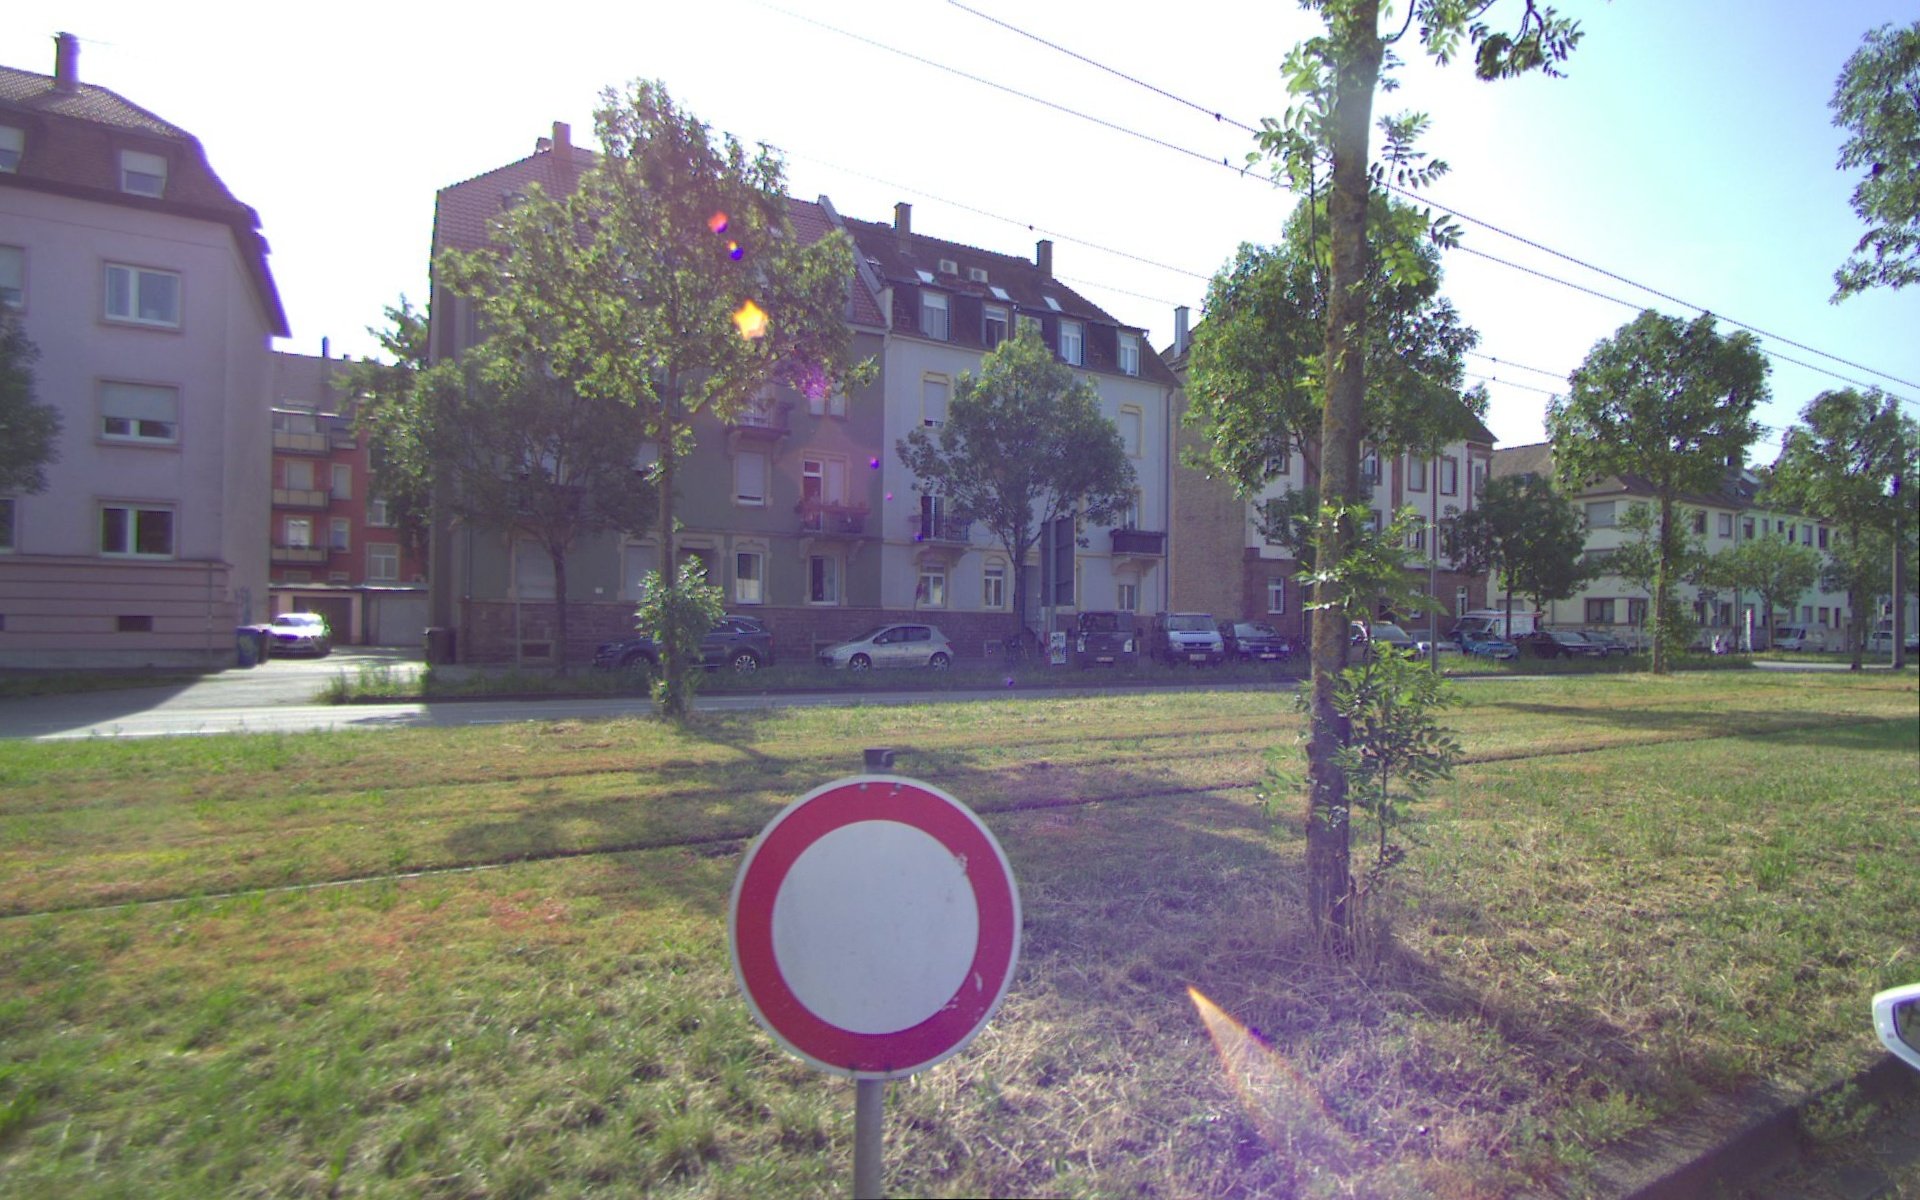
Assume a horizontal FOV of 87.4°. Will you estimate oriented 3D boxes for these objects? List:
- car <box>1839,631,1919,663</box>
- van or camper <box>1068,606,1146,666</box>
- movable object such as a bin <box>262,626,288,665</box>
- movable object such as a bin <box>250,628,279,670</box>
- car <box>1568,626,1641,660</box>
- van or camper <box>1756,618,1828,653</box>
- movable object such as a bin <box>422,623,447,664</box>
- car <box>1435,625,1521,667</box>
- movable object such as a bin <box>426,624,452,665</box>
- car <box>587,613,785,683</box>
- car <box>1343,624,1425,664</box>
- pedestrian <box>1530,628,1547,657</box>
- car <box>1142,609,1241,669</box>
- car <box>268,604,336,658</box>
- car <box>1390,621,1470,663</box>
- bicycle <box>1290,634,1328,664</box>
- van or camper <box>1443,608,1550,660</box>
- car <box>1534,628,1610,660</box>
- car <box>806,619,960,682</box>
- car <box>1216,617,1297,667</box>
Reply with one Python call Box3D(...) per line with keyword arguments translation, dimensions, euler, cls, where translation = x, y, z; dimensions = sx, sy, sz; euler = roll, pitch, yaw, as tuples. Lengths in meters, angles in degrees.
Box3D(translation=(59.635, 2.994, 64.499), dimensions=(1.960, 1.761, 5.329), euler=(2, 0, 4), cls="car")
Box3D(translation=(4.600, 1.081, 32.052), dimensions=(1.963, 1.645, 4.852), euler=(2, 0, 3), cls="van or camper")
Box3D(translation=(-22.257, 1.464, 32.666), dimensions=(0.633, 1.227, 0.582), euler=(2, 1, -31), cls="movable object such as a bin")
Box3D(translation=(-20.924, 1.471, 30.234), dimensions=(0.633, 1.227, 0.582), euler=(2, 1, -31), cls="movable object such as a bin")
Box3D(translation=(29.569, 1.943, 46.174), dimensions=(1.467, 1.344, 3.166), euler=(2, 0, 4), cls="car")
Box3D(translation=(60.479, 2.592, 72.958), dimensions=(5.756, 2.359, 1.985), euler=(2, 1, -29), cls="van or camper")
Box3D(translation=(-16.263, 1.328, 31.070), dimensions=(0.633, 1.227, 0.582), euler=(2, 1, -31), cls="movable object such as a bin")
Box3D(translation=(20.906, 1.839, 40.703), dimensions=(1.545, 1.436, 4.001), euler=(2, 0, 3), cls="car")
Box3D(translation=(-15.821, 1.349, 30.489), dimensions=(0.633, 1.227, 0.582), euler=(2, 1, -31), cls="movable object such as a bin")
Box3D(translation=(-7.259, 1.236, 26.760), dimensions=(4.722, 1.650, 1.983), euler=(1, 1, -32), cls="car")
Box3D(translation=(16.226, 1.638, 38.610), dimensions=(1.606, 1.286, 4.001), euler=(2, 0, 3), cls="car")
Box3D(translation=(34.327, 2.495, 59.564), dimensions=(0.611, 1.688, 0.579), euler=(2, 1, -26), cls="pedestrian")
Box3D(translation=(7.422, 1.186, 32.748), dimensions=(2.016, 1.645, 5.222), euler=(2, 0, 1), cls="car")
Box3D(translation=(-23.066, 1.061, 35.346), dimensions=(1.806, 1.650, 4.254), euler=(1, 1, -31), cls="car")
Box3D(translation=(18.656, 1.638, 40.064), dimensions=(1.545, 1.436, 4.002), euler=(2, 0, 5), cls="car")
Box3D(translation=(12.916, 1.784, 37.144), dimensions=(1.989, 1.063, 0.460), euler=(2, 1, -44), cls="bicycle")
Box3D(translation=(28.646, 1.818, 53.567), dimensions=(6.284, 2.601, 2.028), euler=(2, 1, -31), cls="van or camper")
Box3D(translation=(26.708, 1.906, 43.951), dimensions=(1.467, 1.176, 3.165), euler=(2, 0, 3), cls="car")
Box3D(translation=(-2.269, 1.462, 29.613), dimensions=(4.103, 1.650, 1.882), euler=(2, 1, -28), cls="car")
Box3D(translation=(10.076, 1.390, 34.487), dimensions=(1.935, 1.438, 4.479), euler=(2, 0, 7), cls="car")
